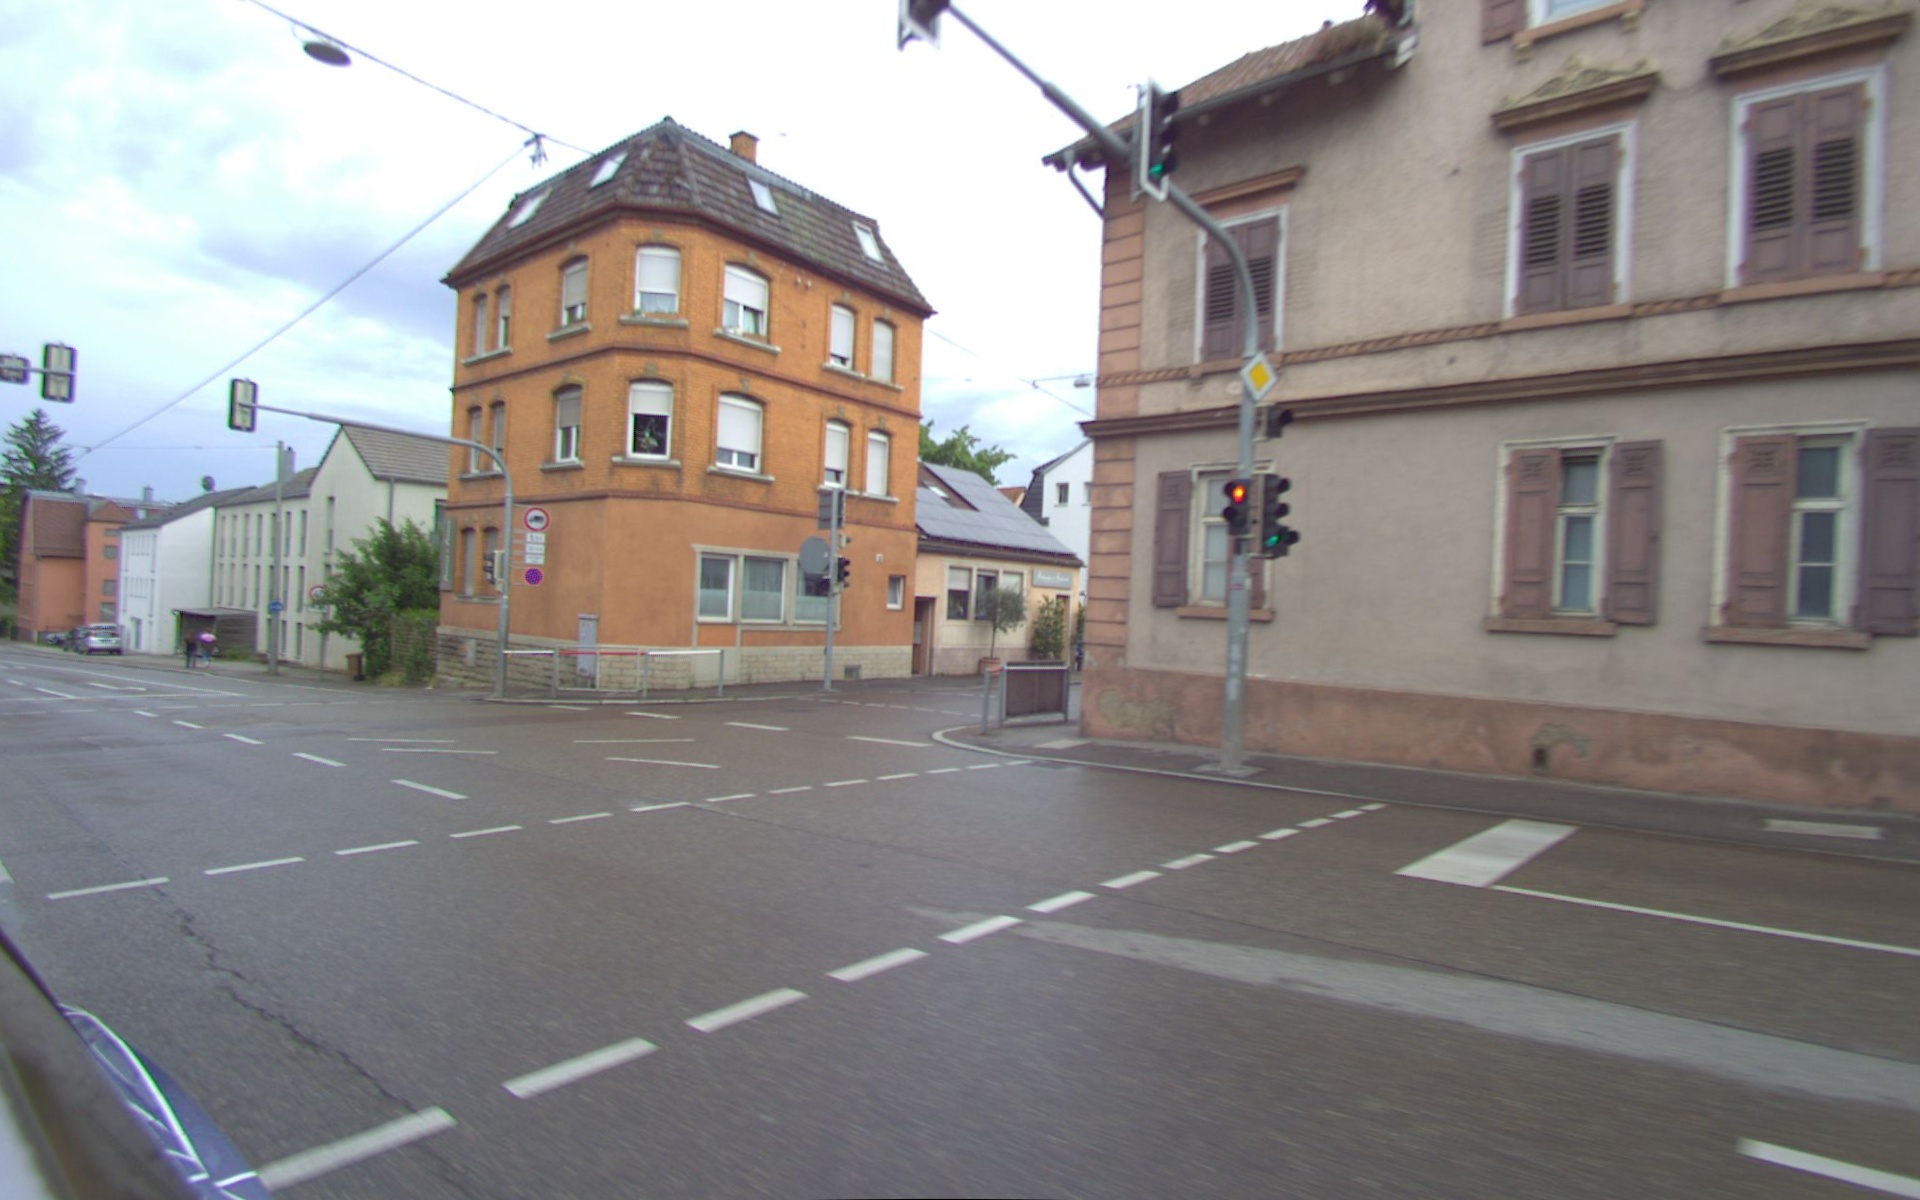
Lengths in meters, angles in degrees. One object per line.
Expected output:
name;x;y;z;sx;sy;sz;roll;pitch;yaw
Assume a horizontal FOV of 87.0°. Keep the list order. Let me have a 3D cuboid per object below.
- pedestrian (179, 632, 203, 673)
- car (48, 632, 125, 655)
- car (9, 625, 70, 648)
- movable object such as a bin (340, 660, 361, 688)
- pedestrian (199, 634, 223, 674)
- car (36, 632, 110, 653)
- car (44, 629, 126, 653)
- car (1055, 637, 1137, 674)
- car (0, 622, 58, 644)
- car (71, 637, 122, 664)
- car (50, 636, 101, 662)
pedestrian;-32.751;2.246;43.119;0.911;1.719;0.633;-2;-3;42
car;-63.845;3.158;73.974;1.895;1.475;4.081;-2;-1;42
car;-84.555;3.344;92.973;1.998;2.029;3.947;-1;-2;40
movable object such as a bin;-20.482;2.481;33.998;0.525;0.932;0.405;-1;-2;35
pedestrian;-32.309;2.325;43.649;0.911;1.719;0.633;-2;-3;42
car;-67.690;3.235;77.278;2.000;1.444;4.116;-2;-1;43
car;-65.574;3.051;75.908;2.153;1.620;4.482;-2;-1;43
car;5.617;2.260;41.831;2.978;1.395;1.584;-1;-2;40
car;-87.587;3.082;95.306;3.938;2.029;2.003;1;-2;-42
car;-52.106;3.018;61.029;4.176;1.519;1.726;-2;-3;41
car;-57.498;3.157;65.784;4.077;1.564;1.729;-2;-1;37
